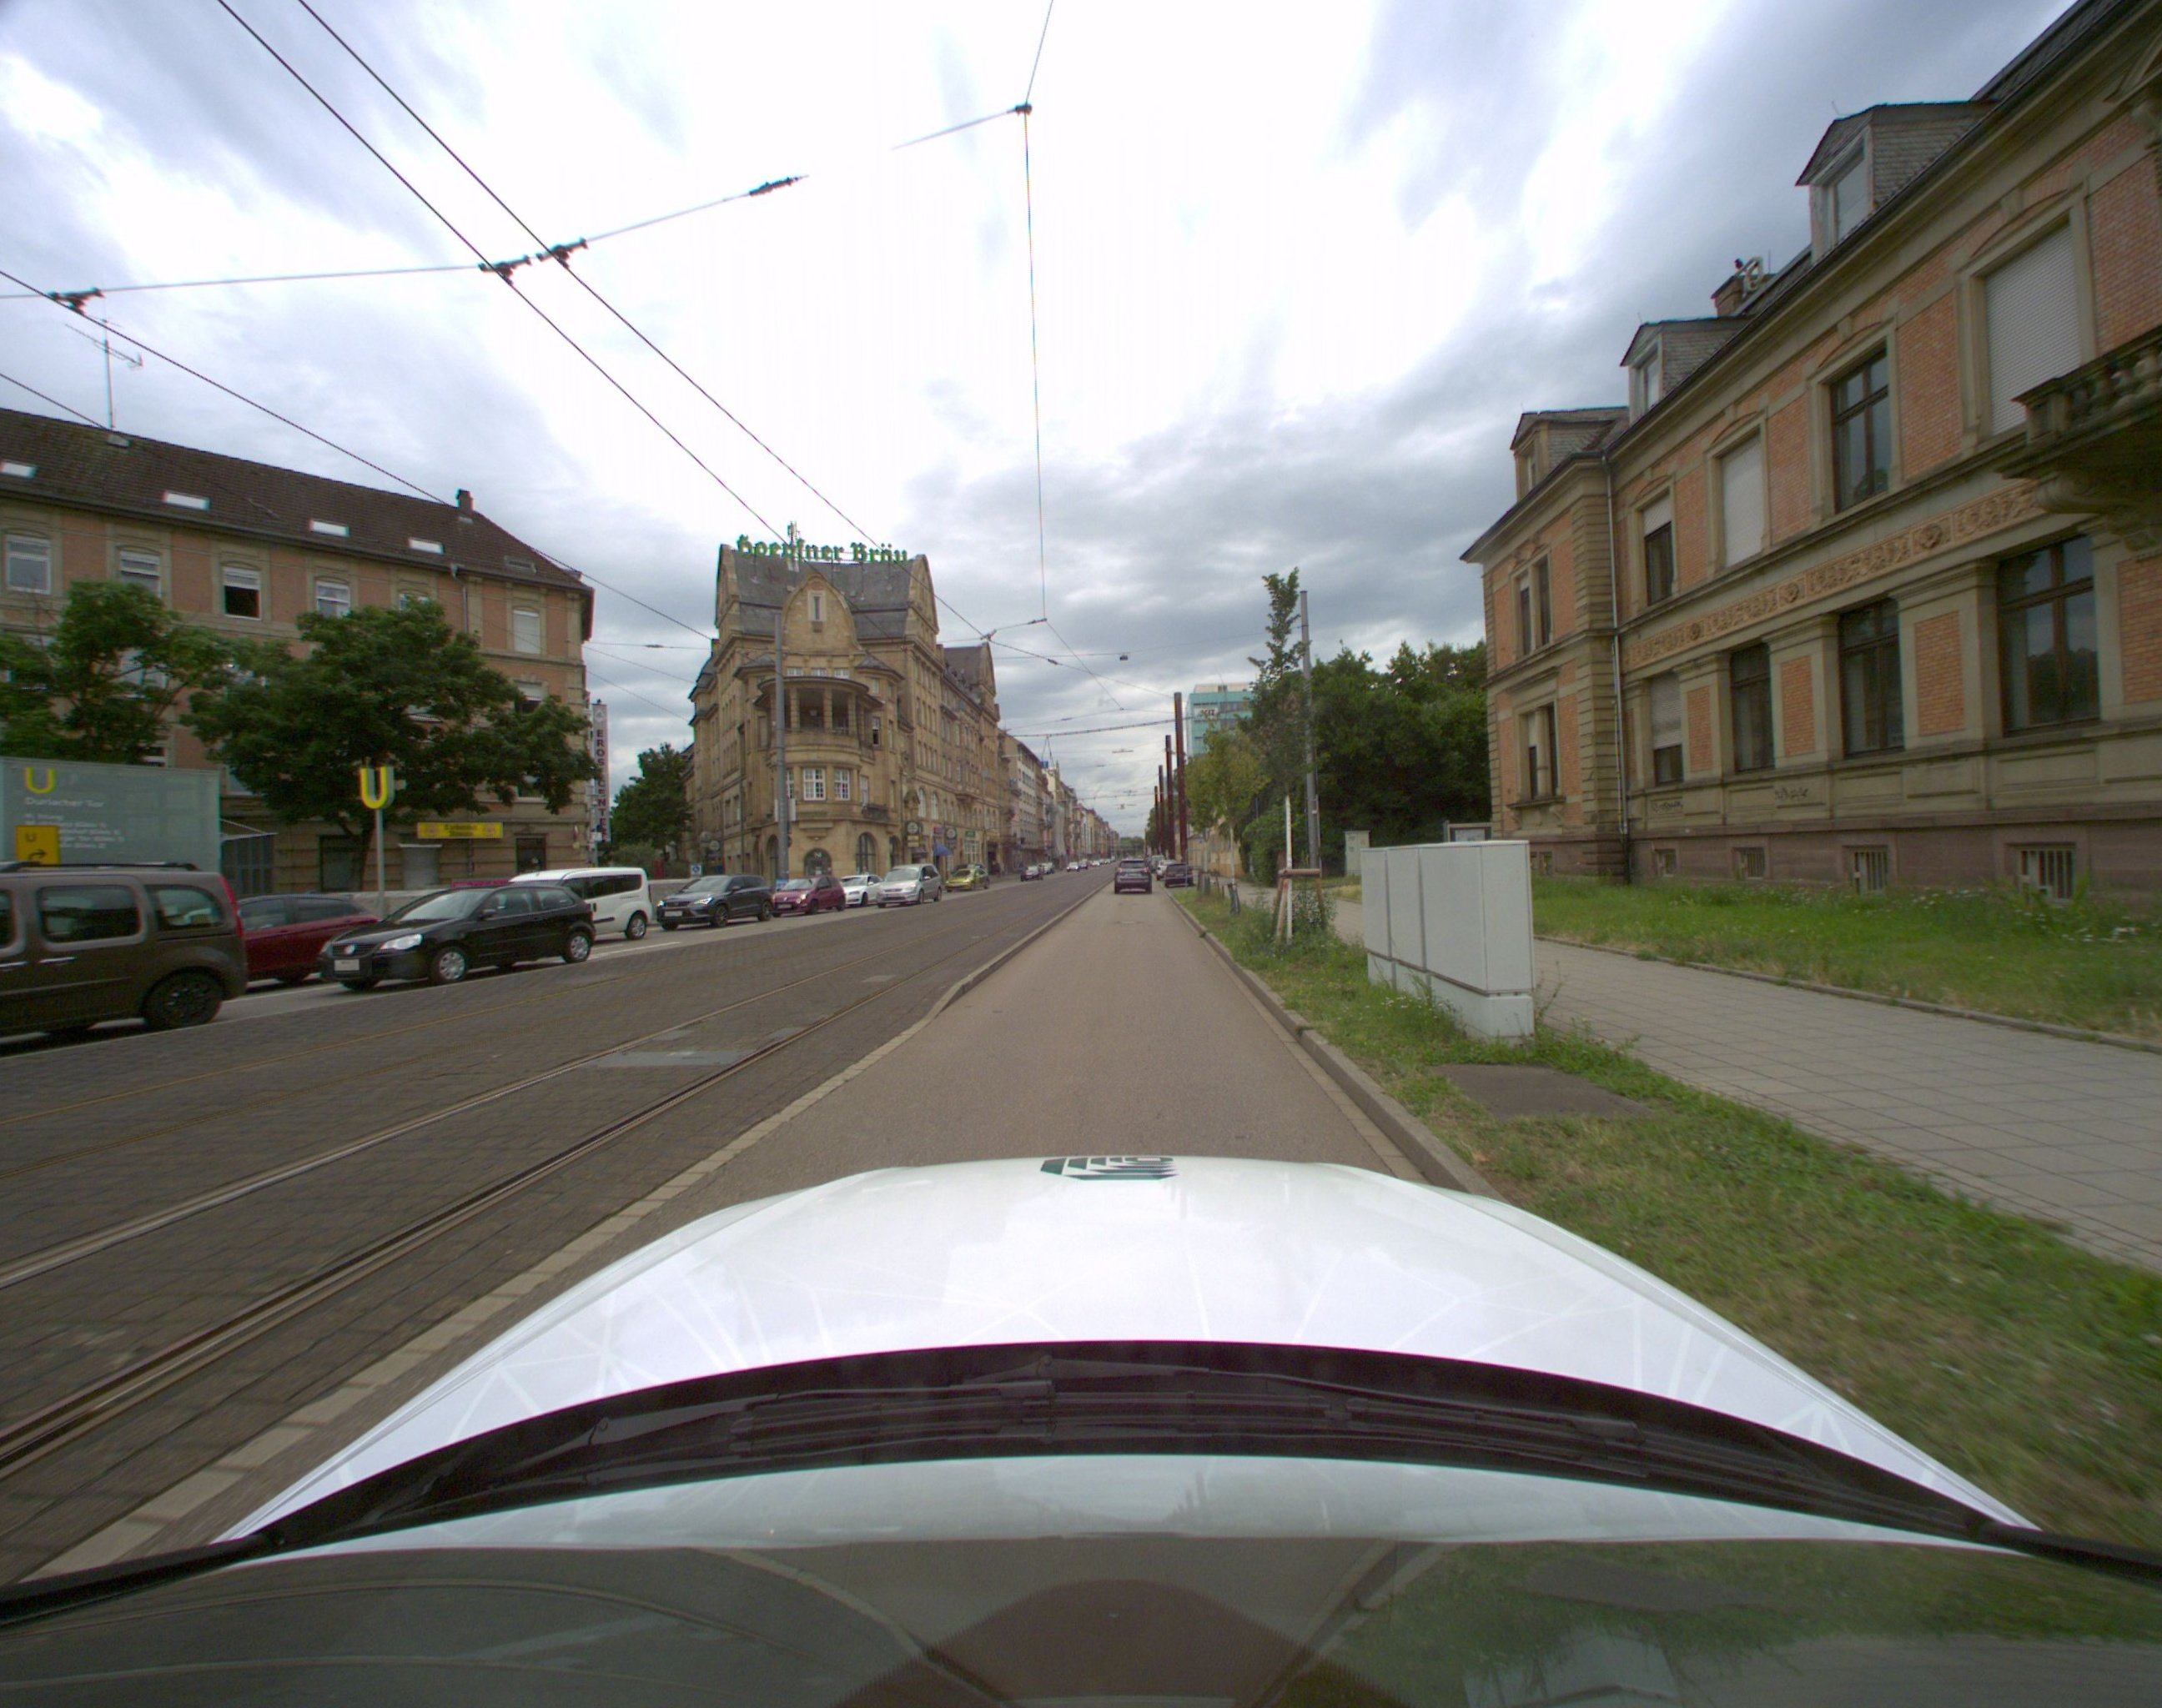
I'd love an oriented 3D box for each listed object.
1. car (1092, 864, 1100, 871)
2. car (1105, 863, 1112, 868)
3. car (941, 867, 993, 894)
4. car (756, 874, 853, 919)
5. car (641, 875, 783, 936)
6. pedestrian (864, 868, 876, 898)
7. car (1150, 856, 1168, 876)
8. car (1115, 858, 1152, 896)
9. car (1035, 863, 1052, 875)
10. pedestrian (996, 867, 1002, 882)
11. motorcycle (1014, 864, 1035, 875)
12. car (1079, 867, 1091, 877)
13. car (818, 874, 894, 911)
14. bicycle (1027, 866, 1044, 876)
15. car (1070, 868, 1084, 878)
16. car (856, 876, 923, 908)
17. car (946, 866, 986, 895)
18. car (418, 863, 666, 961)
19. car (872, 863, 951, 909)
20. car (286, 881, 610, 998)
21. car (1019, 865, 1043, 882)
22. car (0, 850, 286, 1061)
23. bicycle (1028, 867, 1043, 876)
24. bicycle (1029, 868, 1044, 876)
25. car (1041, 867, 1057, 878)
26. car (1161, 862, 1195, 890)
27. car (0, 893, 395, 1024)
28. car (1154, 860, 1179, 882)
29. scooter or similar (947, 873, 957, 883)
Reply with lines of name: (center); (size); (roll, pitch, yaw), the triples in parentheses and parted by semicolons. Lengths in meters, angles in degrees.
car: (3.505, 3.176, 191.012); (1.680, 1.420, 4.139); (-2, -1, 4)
car: (8.755, 3.660, 261.501); (1.987, 1.635, 4.000); (-2, -1, 1)
car: (-7.349, 1.709, 52.835); (1.886, 1.511, 4.442); (-3, -1, 11)
car: (-10.379, 1.563, 30.856); (1.853, 1.399, 3.903); (-4, -1, 7)
car: (-11.268, 1.518, 25.259); (1.852, 1.534, 4.312); (-4, -1, 9)
pedestrian: (-12.397, 1.699, 47.876); (0.630, 1.719, 0.531); (-2, -1, -11)
car: (9.116, 1.401, 95.701); (1.843, 2.115, 4.989); (-5, -1, 4)
car: (2.608, 1.091, 40.277); (1.742, 1.756, 3.928); (0, 0, 4)
car: (-5.063, 2.045, 110.191); (1.768, 1.504, 4.406); (-2, -1, 4)
pedestrian: (-8.839, 2.201, 87.781); (0.565, 1.598, 0.719); (-2, -1, 3)
motorcycle: (-6.811, 1.865, 97.939); (2.352, 1.302, 0.874); (-2, -1, -33)
car: (0.725, 3.144, 145.420); (1.751, 1.671, 4.619); (-2, -1, 4)
car: (-9.933, 1.666, 36.276); (1.738, 1.380, 4.368); (-5, -1, 5)
bicycle: (-5.991, 2.228, 106.643); (2.226, 1.126, 0.503); (-2, -1, -4)
car: (-0.594, 2.944, 125.532); (1.751, 1.449, 4.619); (-2, -1, 4)
car: (-9.621, 1.886, 41.213); (1.916, 1.380, 4.266); (-2, 0, 7)
car: (-8.699, 1.970, 62.220); (1.891, 1.977, 5.102); (-4, -1, 3)
car: (-12.287, 1.216, 19.113); (1.852, 1.916, 5.113); (-2, -1, 9)
car: (-7.068, 1.277, 34.481); (1.854, 1.706, 4.916); (-3, -1, 5)
car: (-9.765, 1.237, 13.041); (1.679, 1.442, 4.009); (-2, -1, 8)
car: (-4.644, 1.822, 76.377); (1.821, 1.433, 4.665); (-4, -1, 0)
car: (-10.564, 0.945, 7.561); (1.679, 1.900, 4.396); (-2, -1, 8)
bicycle: (-5.888, 2.274, 105.934); (1.962, 1.001, 0.462); (-2, -1, -4)
bicycle: (-5.754, 2.293, 104.899); (1.962, 1.001, 0.462); (-2, -1, -4)
car: (-4.543, 2.596, 116.894); (1.768, 1.504, 4.406); (-2, -1, 4)
car: (5.603, 1.230, 47.419); (1.630, 1.433, 3.934); (-4, -1, 3)
car: (-13.019, 1.420, 12.233); (1.679, 1.442, 4.009); (-2, -1, 8)
car: (6.680, 1.328, 63.985); (1.748, 1.574, 3.934); (-4, -1, 3)
scooter or similar: (-11.417, 2.132, 72.119); (0.579, 0.802, 1.347); (-2, -1, 4)
